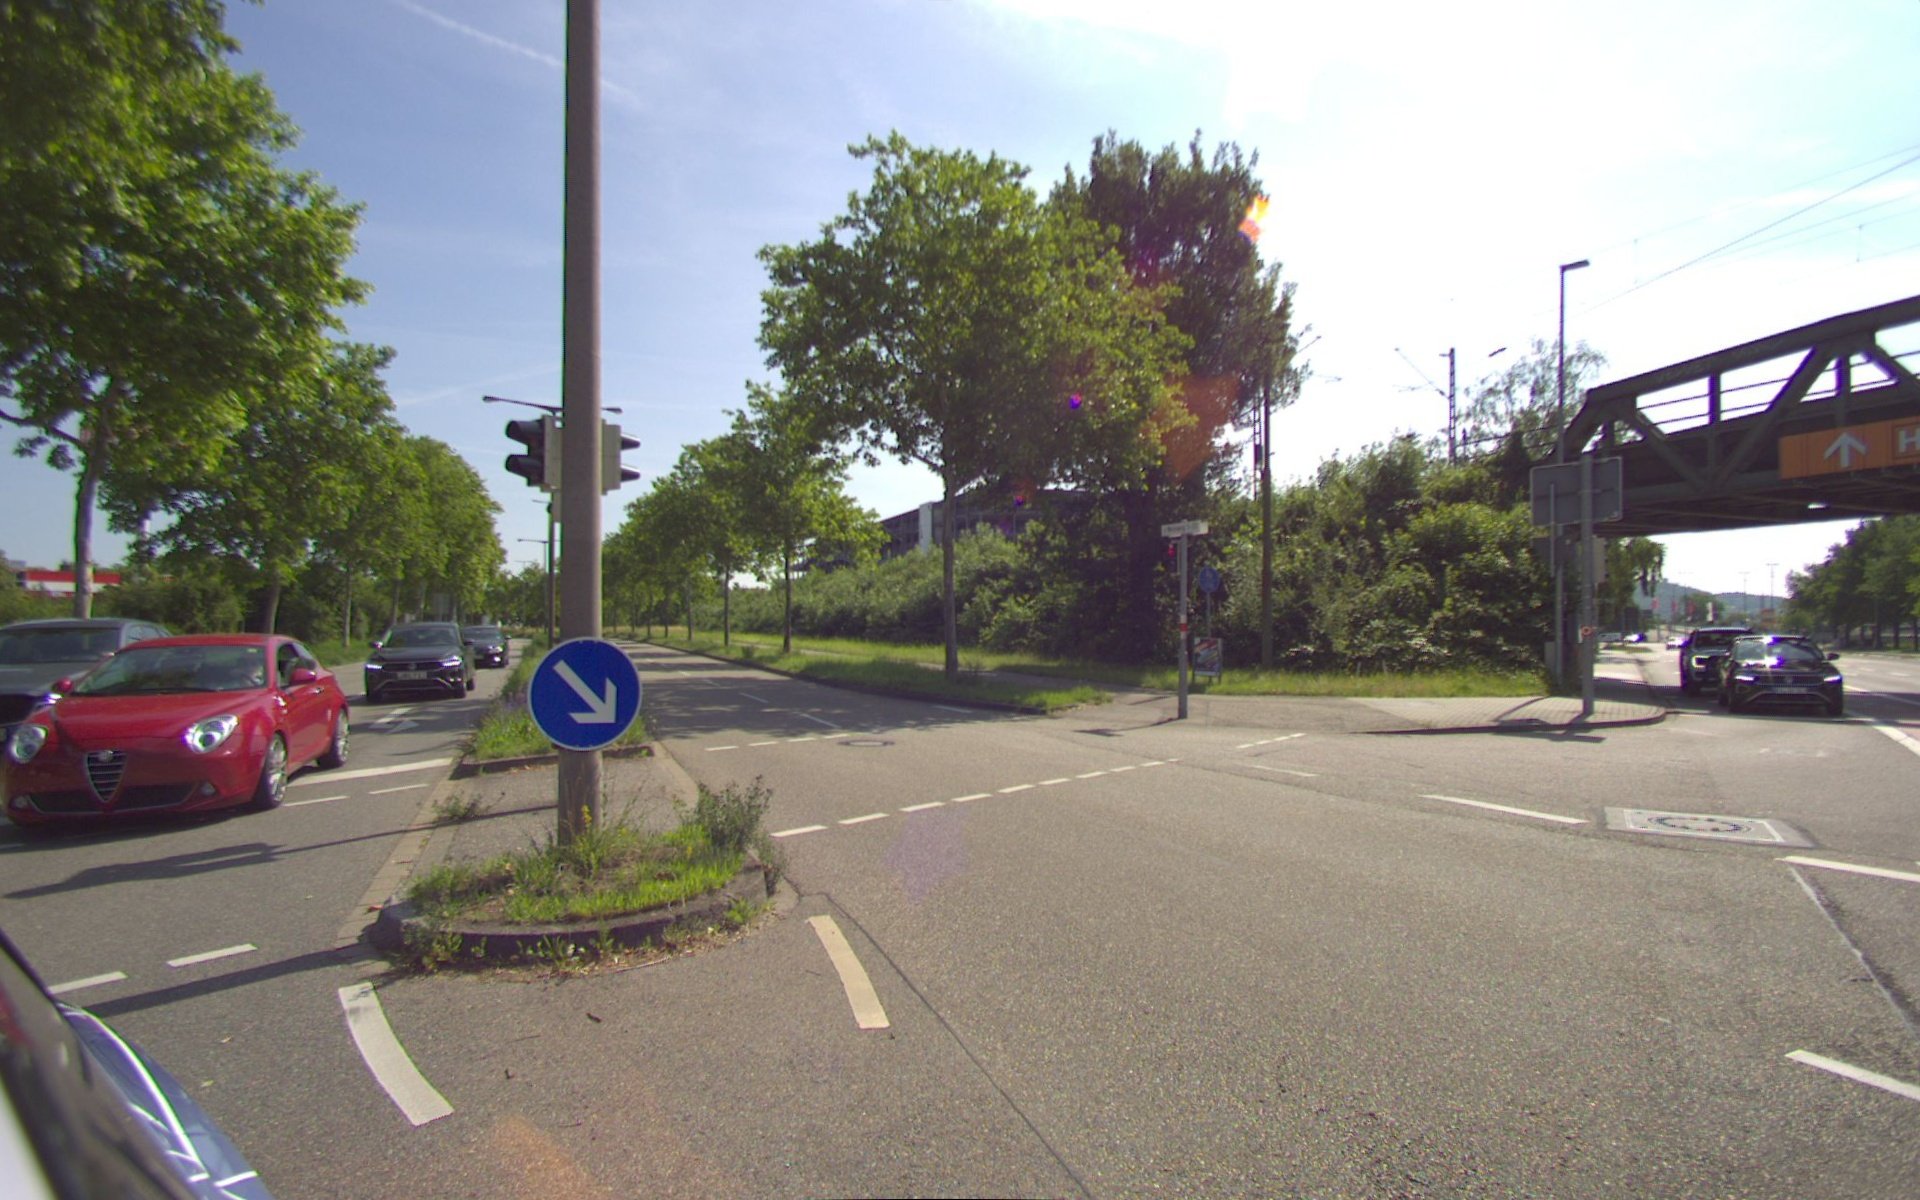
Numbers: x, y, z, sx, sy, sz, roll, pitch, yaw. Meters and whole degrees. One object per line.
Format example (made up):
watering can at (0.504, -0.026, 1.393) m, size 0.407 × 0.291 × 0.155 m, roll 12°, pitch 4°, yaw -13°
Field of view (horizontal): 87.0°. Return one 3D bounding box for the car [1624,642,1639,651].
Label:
car at (115.573, 8.066, 174.187) m, size 1.967 × 1.504 × 4.040 m, roll -1°, pitch -2°, yaw 30°

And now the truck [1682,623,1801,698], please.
truck at (21.230, 1.608, 27.718) m, size 2.026 × 1.833 × 5.266 m, roll -3°, pitch -3°, yaw 33°

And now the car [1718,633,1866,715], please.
car at (16.883, 1.459, 20.734) m, size 1.818 × 1.492 × 3.899 m, roll -3°, pitch -3°, yaw 33°

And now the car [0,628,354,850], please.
car at (-6.636, 1.000, 8.897) m, size 1.631 × 1.449 × 3.921 m, roll -1°, pitch -1°, yaw -22°

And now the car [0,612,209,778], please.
car at (-10.828, 1.029, 12.250) m, size 1.741 × 1.671 × 4.511 m, roll -1°, pitch -1°, yaw -23°

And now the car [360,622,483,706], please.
car at (-11.166, 1.263, 21.236) m, size 1.843 × 1.557 × 4.094 m, roll 0°, pitch -1°, yaw -22°

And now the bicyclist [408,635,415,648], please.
bicyclist at (-68.549, 5.160, 126.490) m, size 0.675 × 1.644 × 1.005 m, roll 1°, pitch -2°, yaw -22°

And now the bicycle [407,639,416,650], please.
bicycle at (-68.541, 5.570, 126.455) m, size 0.675 × 1.247 × 1.940 m, roll 1°, pitch -2°, yaw -22°

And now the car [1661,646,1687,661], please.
car at (78.860, 5.896, 111.763) m, size 1.967 × 1.504 × 4.040 m, roll -1°, pitch -2°, yaw 30°
